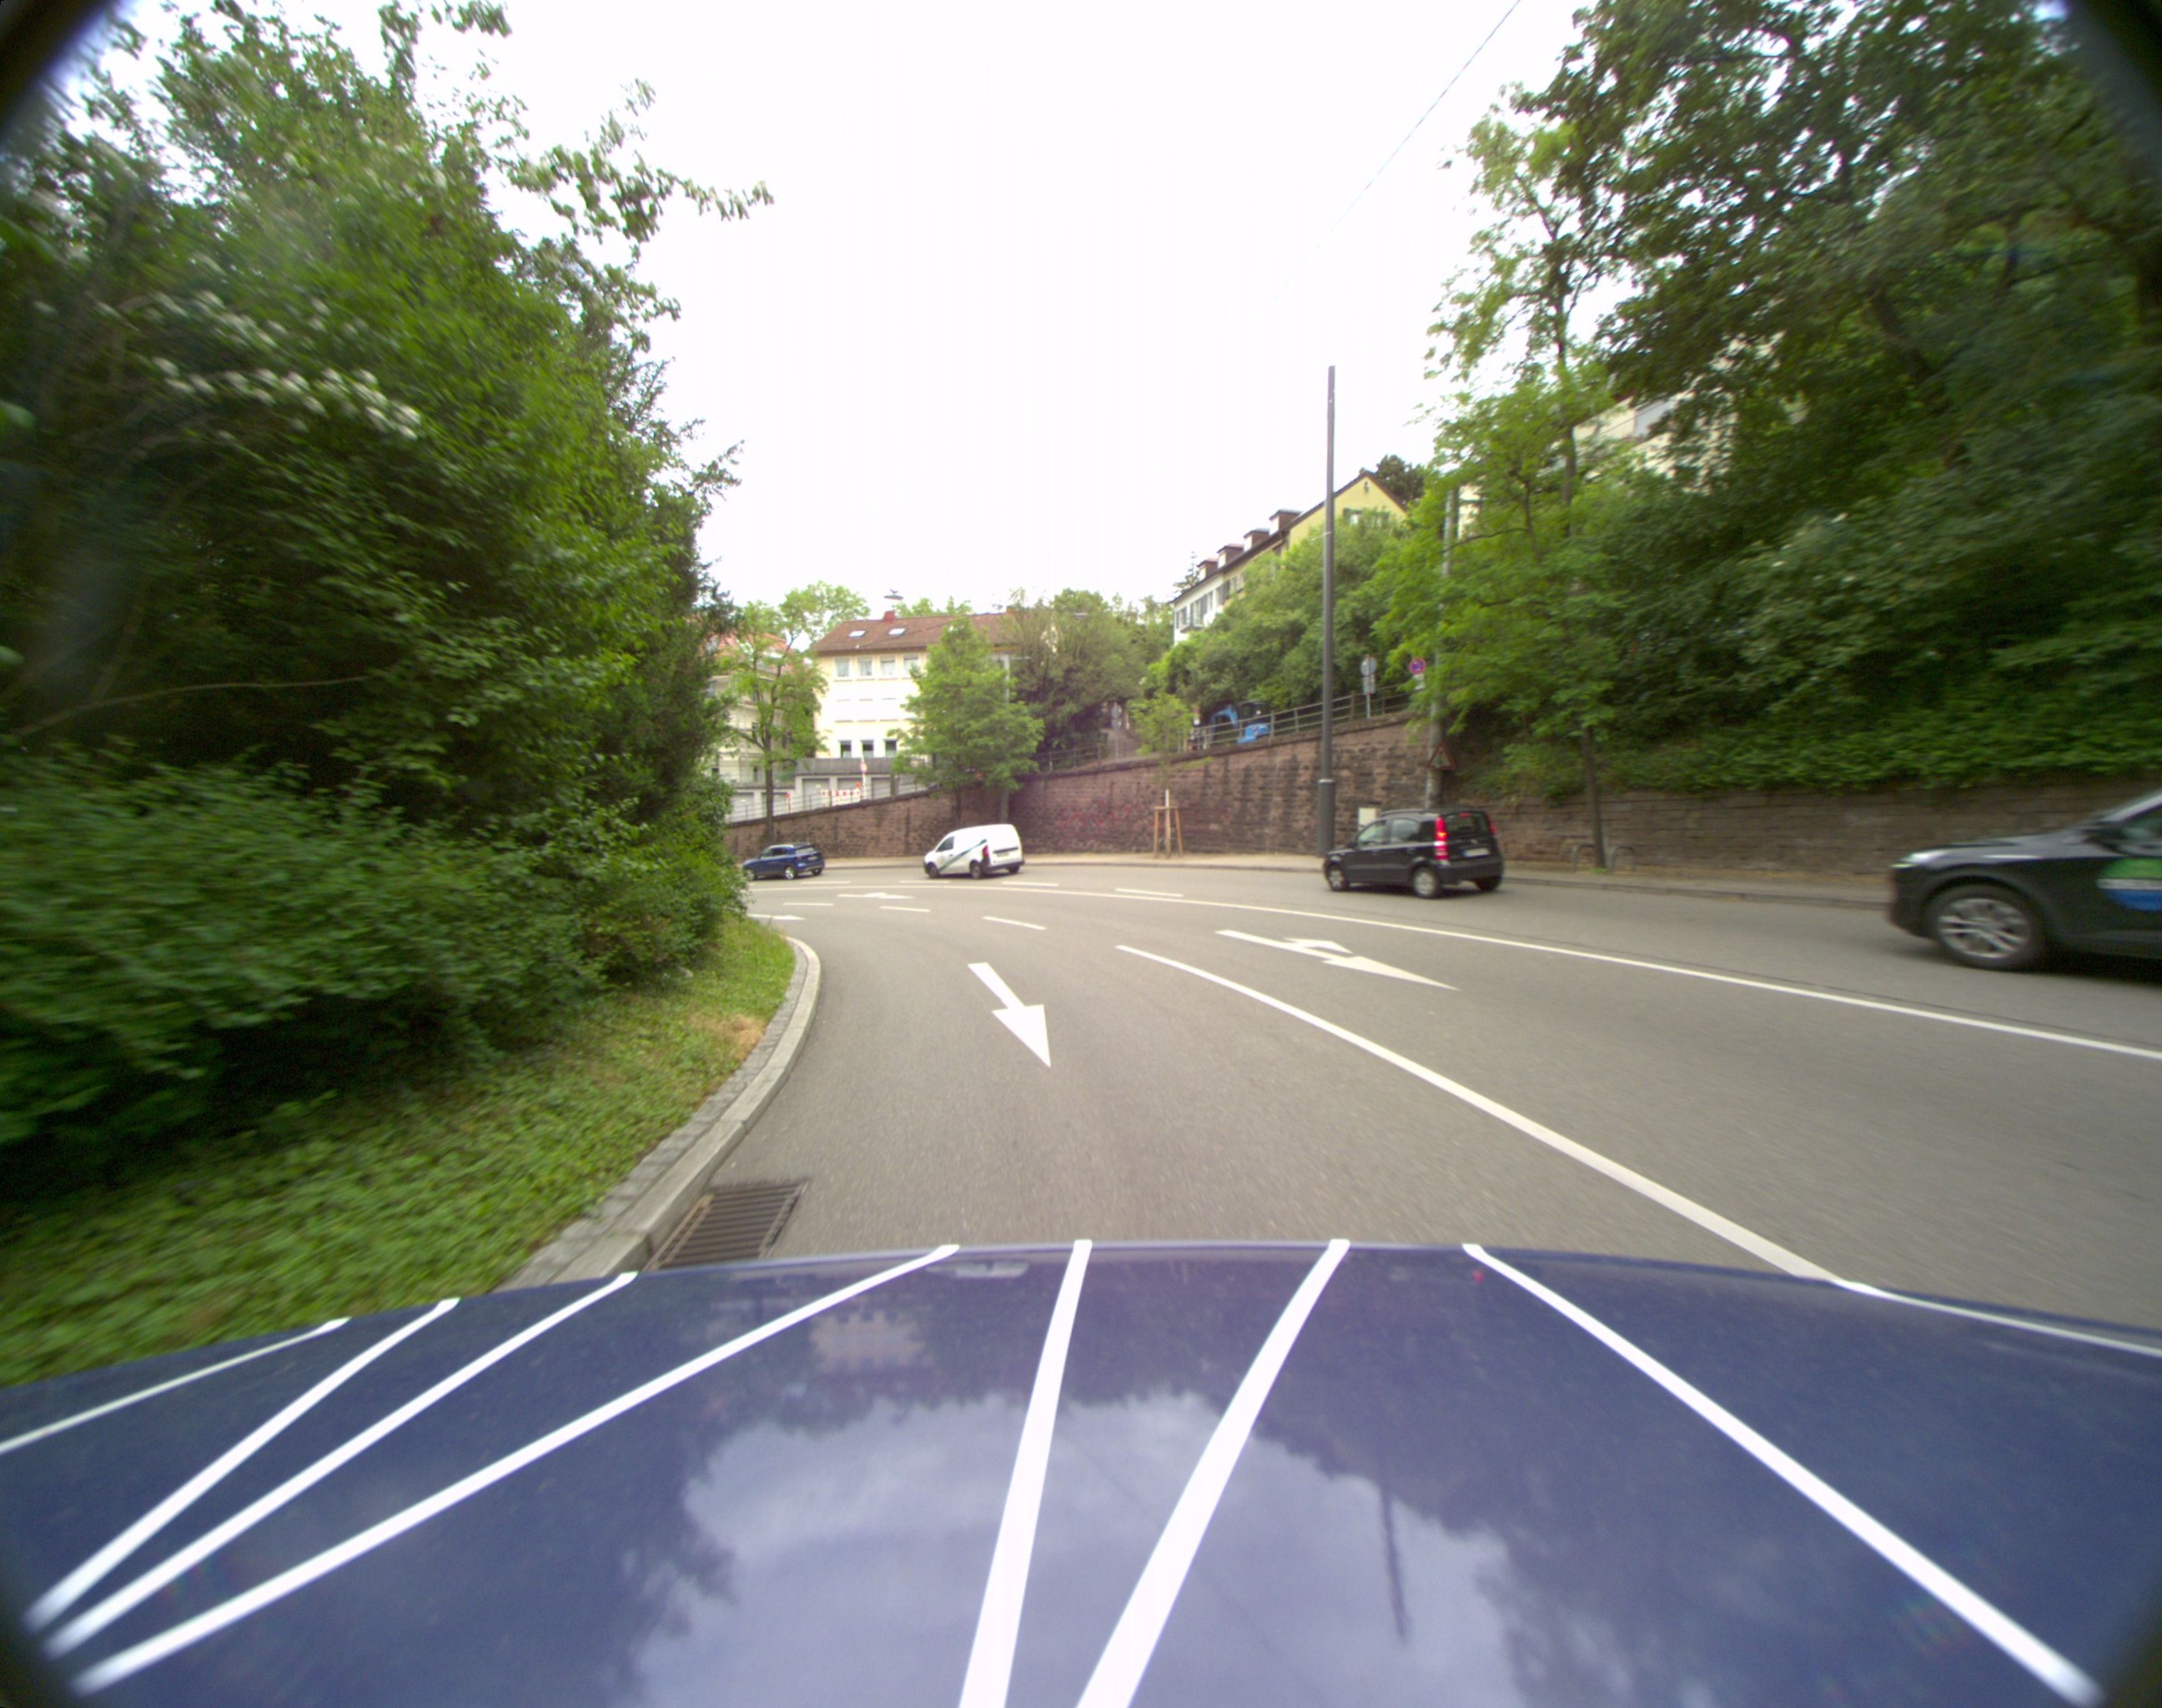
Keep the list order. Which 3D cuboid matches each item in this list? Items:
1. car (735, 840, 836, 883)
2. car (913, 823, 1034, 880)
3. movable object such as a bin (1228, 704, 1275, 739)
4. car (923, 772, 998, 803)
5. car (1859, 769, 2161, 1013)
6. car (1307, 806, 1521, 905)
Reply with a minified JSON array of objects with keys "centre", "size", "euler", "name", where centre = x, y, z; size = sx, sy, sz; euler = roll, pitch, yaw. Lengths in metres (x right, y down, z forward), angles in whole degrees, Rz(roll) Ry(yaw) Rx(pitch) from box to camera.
[{"centre":[-13.675,0.352,35.158],"size":[4.192,1.520,1.732],"euler":[-3,6,23],"name":"car"},{"centre":[-4.066,-0.057,28.162],"size":[1.829,1.755,4.657],"euler":[-11,6,-44],"name":"car"},{"centre":[7.892,-6.115,35.174],"size":[1.254,1.348,1.600],"euler":[-6,4,-40],"name":"movable object such as a bin"},{"centre":[-7.271,-4.018,45.952],"size":[4.055,1.632,1.776],"euler":[-1,7,24],"name":"car"},{"centre":[8.062,0.220,4.575],"size":[1.759,1.615,4.646],"euler":[-3,2,-5],"name":"car"},{"centre":[6.019,-0.003,14.191],"size":[1.512,1.516,3.654],"euler":[-5,2,-19],"name":"car"}]
